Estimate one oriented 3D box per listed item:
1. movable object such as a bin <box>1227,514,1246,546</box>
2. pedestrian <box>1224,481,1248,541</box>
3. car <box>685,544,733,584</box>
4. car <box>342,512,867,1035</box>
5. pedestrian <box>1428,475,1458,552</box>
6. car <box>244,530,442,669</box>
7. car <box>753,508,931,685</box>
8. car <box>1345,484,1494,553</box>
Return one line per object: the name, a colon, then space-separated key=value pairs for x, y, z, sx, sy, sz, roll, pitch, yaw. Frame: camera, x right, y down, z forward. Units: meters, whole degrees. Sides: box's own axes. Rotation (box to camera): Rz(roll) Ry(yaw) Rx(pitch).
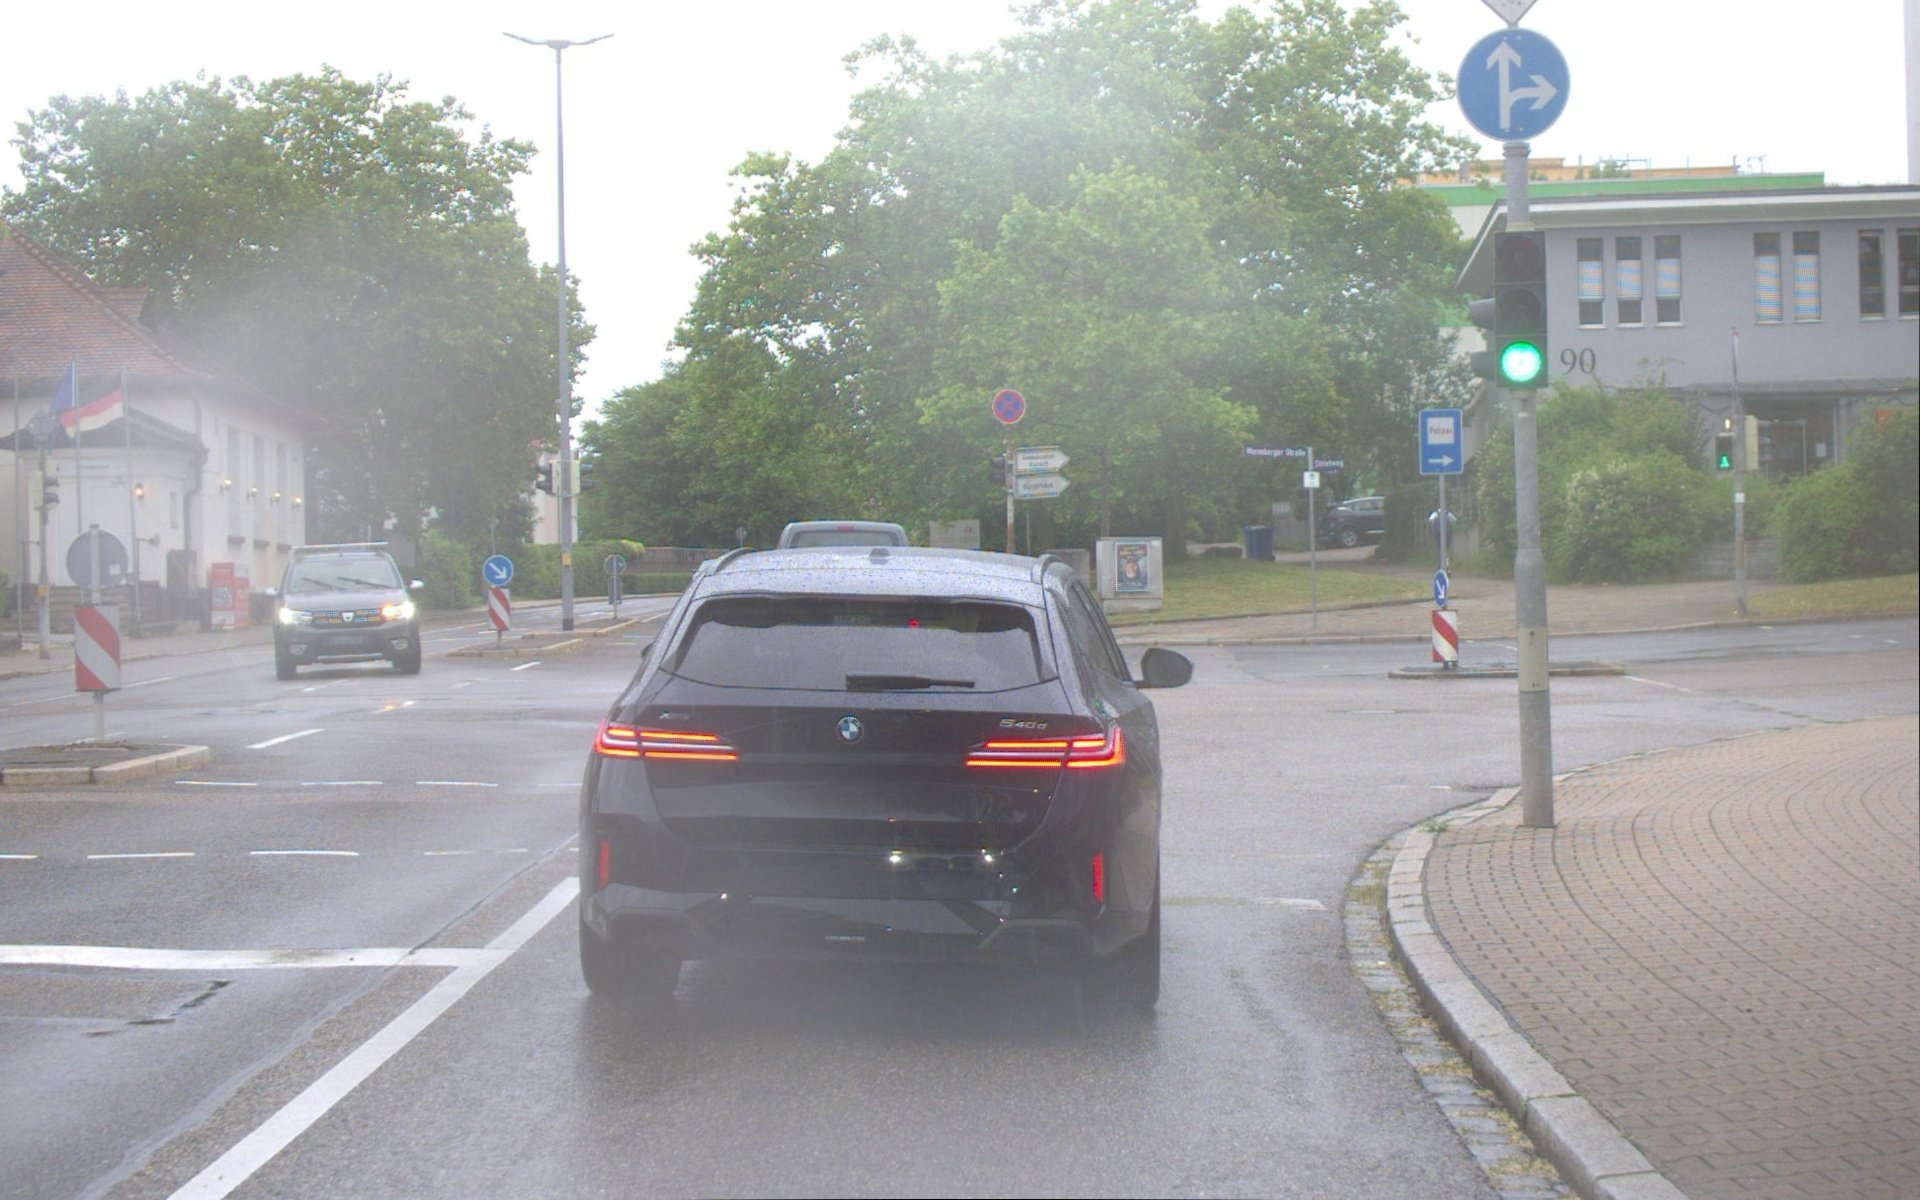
movable object such as a bin: x=7.864 y=-1.986 z=97.764 sx=0.450 sy=0.902 sz=0.462 roll=1 pitch=0 yaw=15
pedestrian: x=8.136 y=-2.630 z=101.368 sx=0.557 sy=1.757 sz=0.728 roll=1 pitch=0 yaw=-5
car: x=-10.314 y=-1.484 z=141.457 sx=1.793 sy=1.522 sz=4.209 roll=-1 pitch=2 yaw=-2
car: x=-1.151 y=0.501 z=11.886 sx=1.523 sy=1.529 sz=3.532 roll=1 pitch=0 yaw=-3
pedestrian: x=10.186 y=-1.830 z=72.520 sx=0.601 sy=1.611 sz=0.525 roll=1 pitch=0 yaw=6
car: x=-7.666 y=-0.052 z=43.101 sx=1.898 sy=1.572 sz=4.503 roll=-1 pitch=2 yaw=-3
car: x=-1.326 y=-0.046 z=37.304 sx=1.812 sy=1.802 sz=3.757 roll=1 pitch=0 yaw=-3
car: x=12.584 y=-2.222 z=94.220 sx=3.988 sy=1.809 sz=1.999 roll=1 pitch=0 yaw=8
